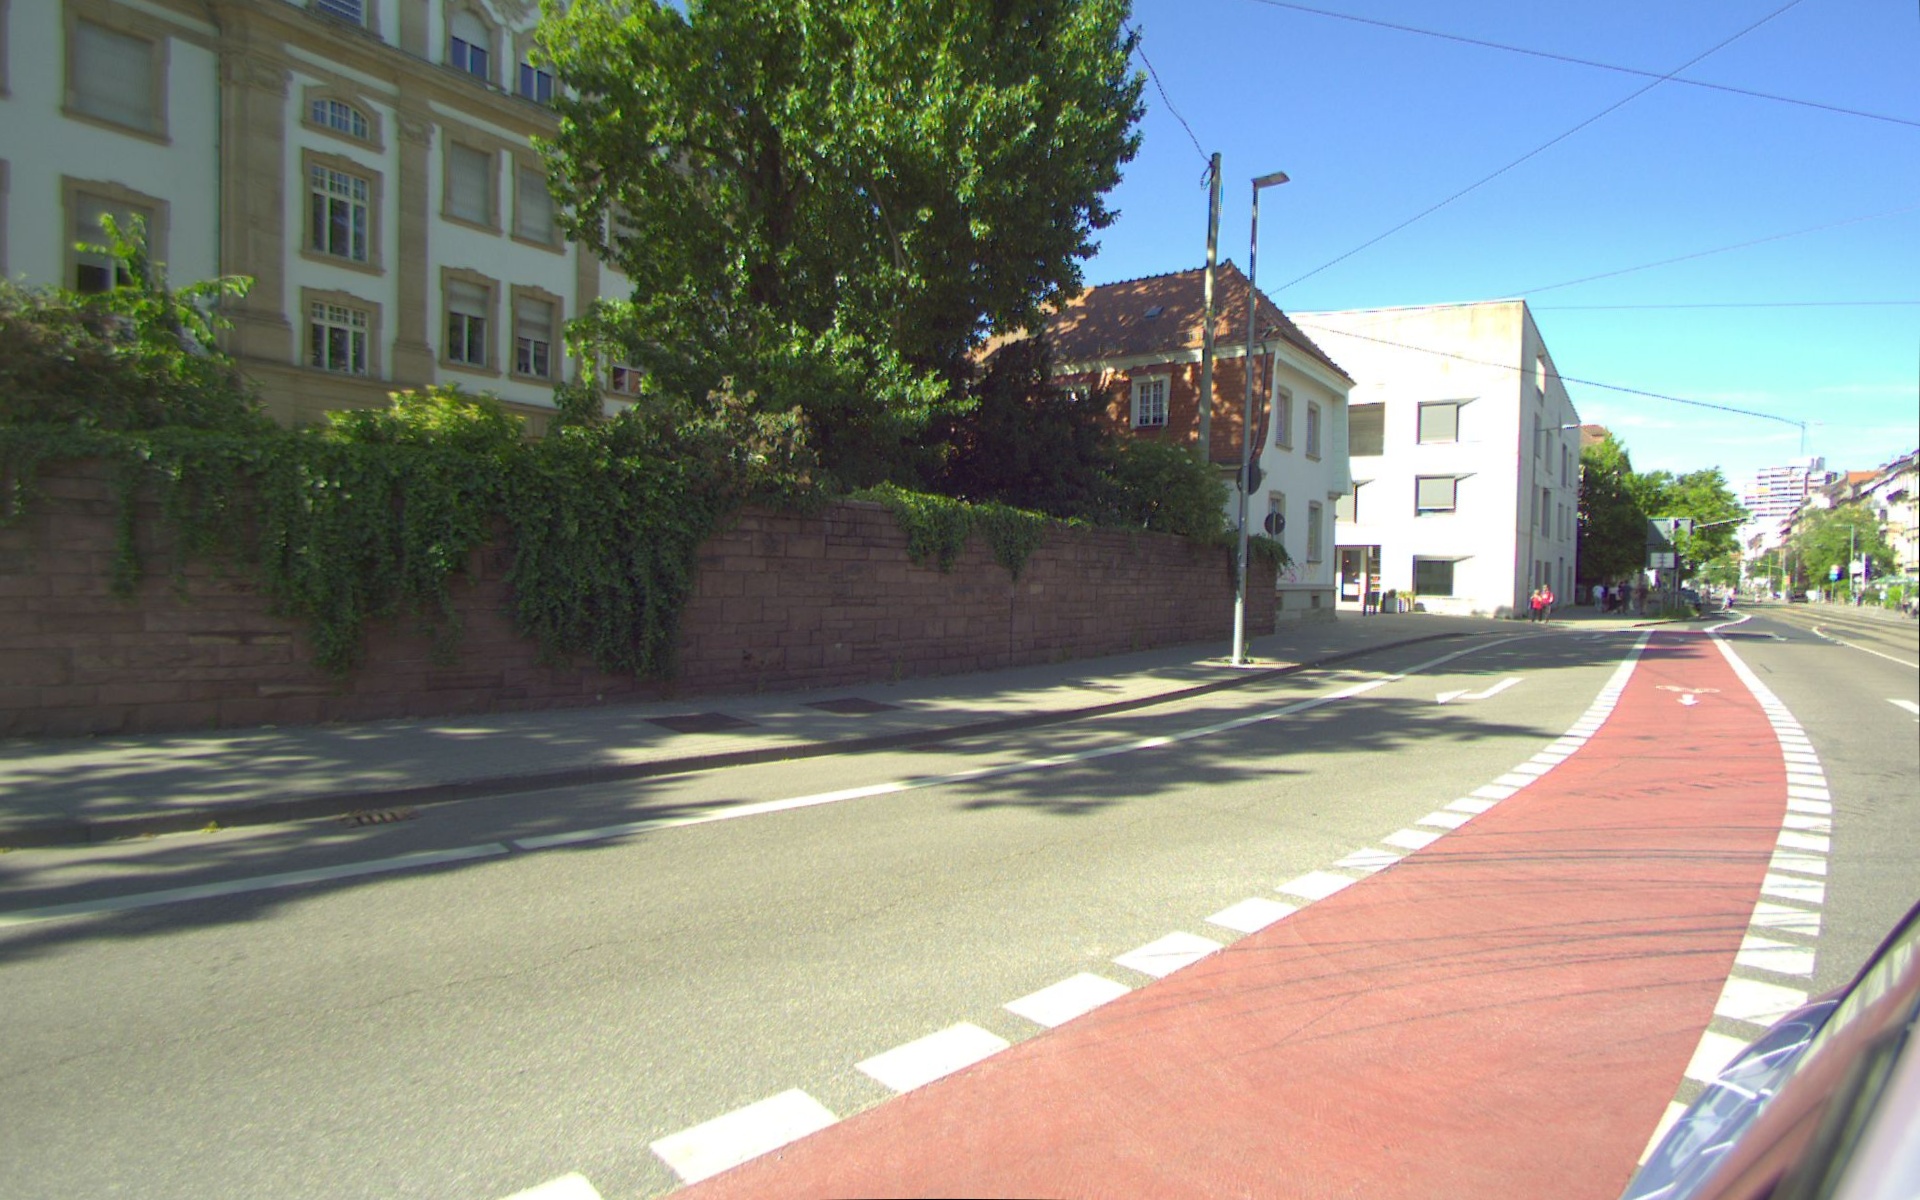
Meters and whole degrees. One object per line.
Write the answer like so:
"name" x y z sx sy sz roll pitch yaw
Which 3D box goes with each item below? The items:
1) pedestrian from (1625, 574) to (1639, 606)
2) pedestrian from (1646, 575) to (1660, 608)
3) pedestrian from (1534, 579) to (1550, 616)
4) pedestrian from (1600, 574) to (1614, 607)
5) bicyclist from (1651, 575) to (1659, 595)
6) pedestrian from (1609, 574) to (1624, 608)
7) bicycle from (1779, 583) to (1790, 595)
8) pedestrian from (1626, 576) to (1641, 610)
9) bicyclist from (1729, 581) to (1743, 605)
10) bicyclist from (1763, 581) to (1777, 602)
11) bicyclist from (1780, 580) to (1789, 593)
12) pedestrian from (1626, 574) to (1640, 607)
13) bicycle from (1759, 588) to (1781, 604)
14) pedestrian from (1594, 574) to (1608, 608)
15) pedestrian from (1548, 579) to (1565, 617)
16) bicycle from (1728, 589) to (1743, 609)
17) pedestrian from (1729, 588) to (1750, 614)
"pedestrian" 38.181 -0.565 57.521 0.584 1.828 0.538 2 1 36
"pedestrian" 37.063 -0.441 54.126 0.584 1.749 0.513 2 1 36
"pedestrian" 24.938 -0.110 43.361 0.531 1.586 0.513 2 1 36
"pedestrian" 36.303 -0.554 56.759 0.584 1.828 0.575 2 1 36
"bicyclist" 81.808 -1.773 119.120 0.809 2.234 0.971 0 1 39
"pedestrian" 35.665 -0.473 54.973 0.584 1.828 0.538 2 1 36
"bicycle" 116.890 -1.541 143.502 0.998 1.702 2.946 0 2 37
"pedestrian" 36.289 -0.389 54.514 0.584 1.828 0.513 2 1 36
"bicyclist" 48.347 -0.429 63.055 0.663 1.480 0.613 0 1 41
"bicyclist" 89.867 -0.935 112.294 0.991 2.296 1.014 0 1 20
"bicyclist" 116.881 -1.925 143.495 0.998 1.743 0.972 0 1 37
"pedestrian" 37.375 -0.549 56.192 0.584 1.828 0.575 2 1 36
"bicycle" 89.861 -0.424 112.310 0.991 1.702 2.966 0 1 20
"pedestrian" 35.080 -0.507 55.387 0.584 1.828 0.538 2 1 36
"pedestrian" 25.228 -0.097 42.778 0.531 1.586 0.513 2 1 36
"bicycle" 48.363 -0.073 63.074 0.663 1.166 1.648 0 2 40
"pedestrian" 53.323 0.071 69.246 0.919 1.759 0.675 2 1 18
